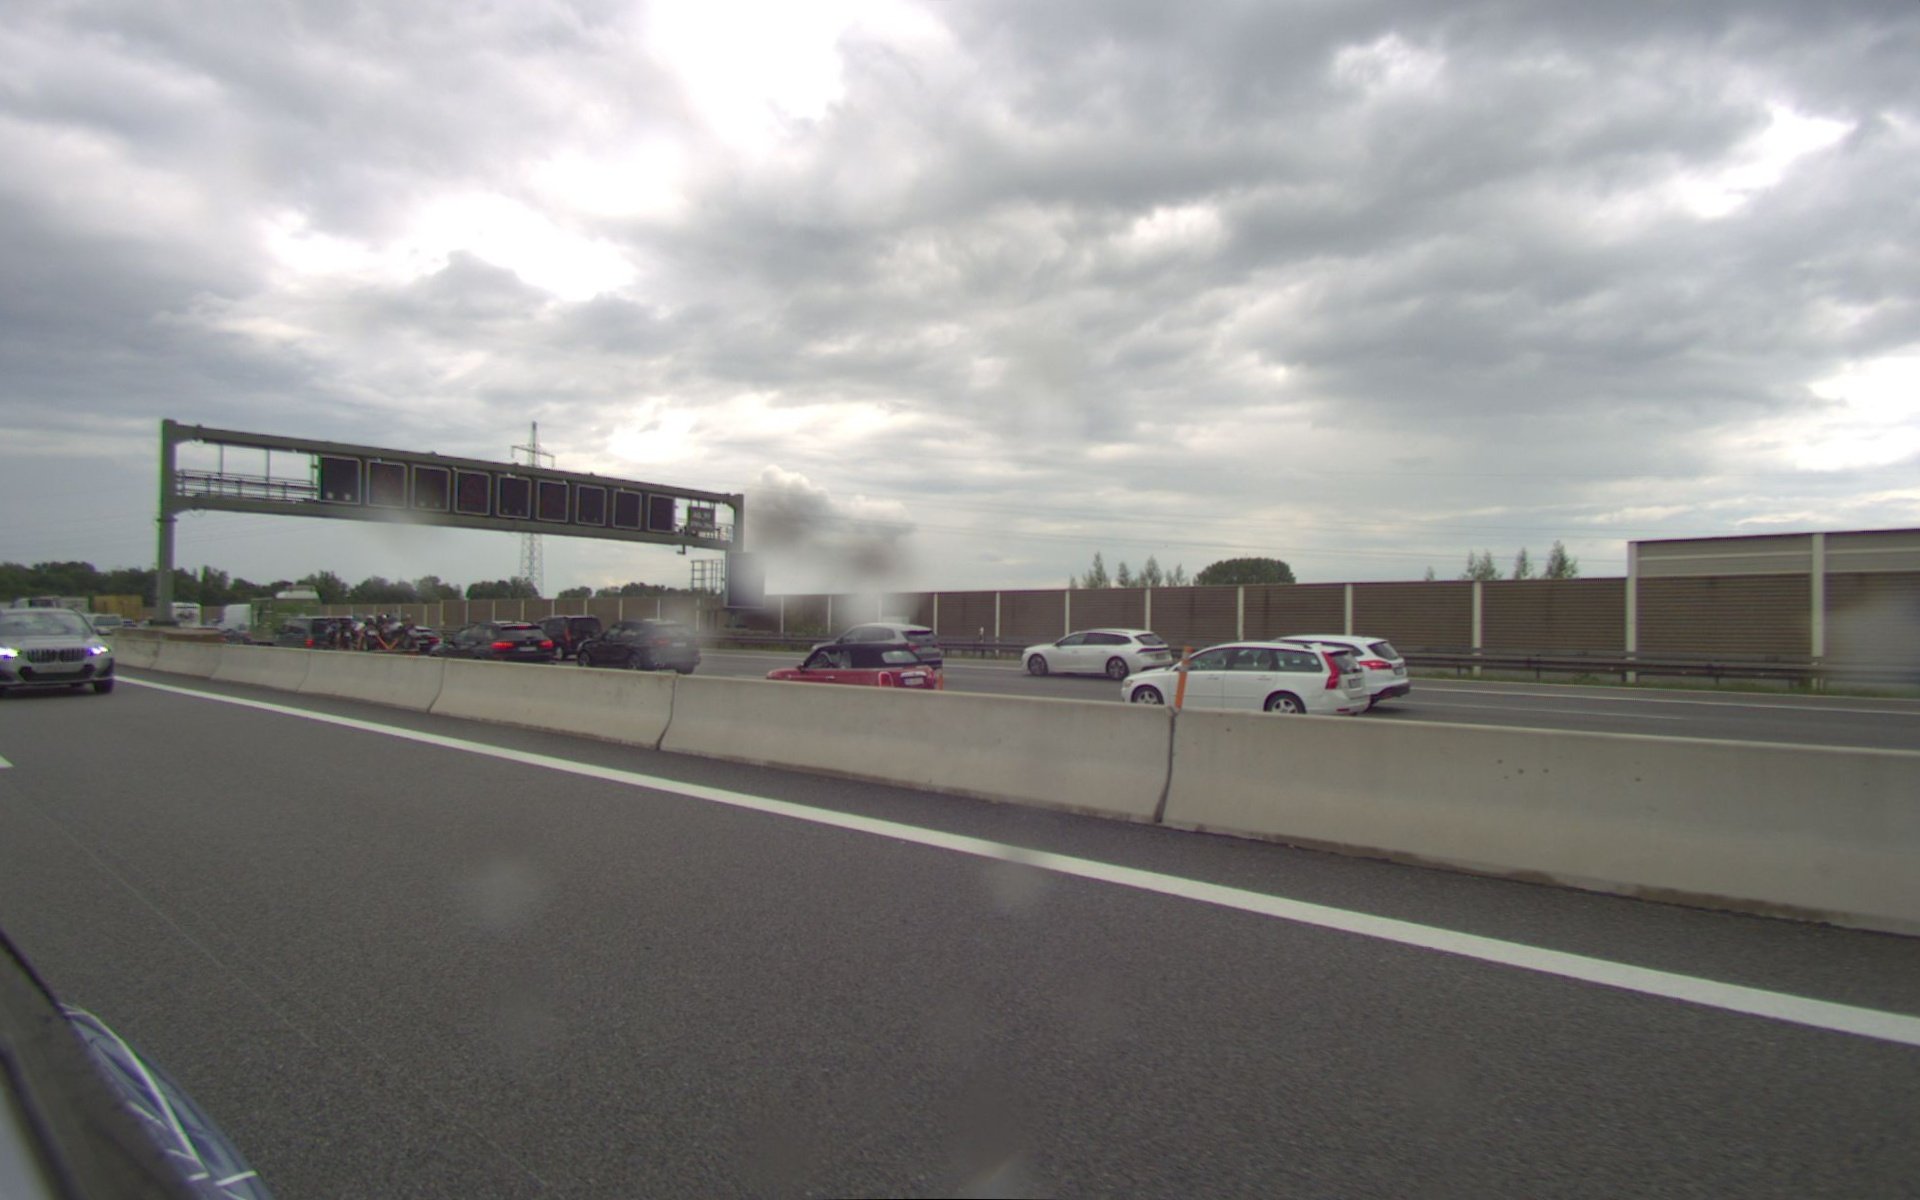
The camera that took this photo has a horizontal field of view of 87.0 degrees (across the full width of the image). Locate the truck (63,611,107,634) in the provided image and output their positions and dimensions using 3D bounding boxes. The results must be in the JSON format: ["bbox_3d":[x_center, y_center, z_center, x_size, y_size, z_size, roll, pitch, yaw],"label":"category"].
[{"bbox_3d":[-80.243,2.028,92.756,5.540,2.015,2.221,-1,-2,40],"label":"truck"}]

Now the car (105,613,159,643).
[{"bbox_3d":[-61.006,2.032,74.542,5.538,2.130,2.220,-1,-2,41],"label":"car"}]

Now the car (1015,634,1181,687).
[{"bbox_3d":[3.993,1.713,29.789,4.569,1.411,1.845,-1,-2,40],"label":"car"}]

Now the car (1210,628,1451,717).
[{"bbox_3d":[7.602,1.409,21.024,4.389,1.643,1.730,-1,-2,40],"label":"car"}]

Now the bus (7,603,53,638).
[{"bbox_3d":[-103.247,2.245,112.334,10.629,3.707,2.626,-1,-2,41],"label":"bus"}]

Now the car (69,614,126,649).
[{"bbox_3d":[-58.636,2.119,68.760,5.510,2.254,2.207,-1,-2,41],"label":"car"}]

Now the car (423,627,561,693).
[{"bbox_3d":[-13.756,1.674,29.604,5.109,1.758,1.860,-1,-2,43],"label":"car"}]

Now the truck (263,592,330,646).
[{"bbox_3d":[-50.517,1.444,76.990,6.048,3.917,2.724,-1,-2,41],"label":"truck"}]

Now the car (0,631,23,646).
[{"bbox_3d":[-93.747,3.759,99.727,3.325,1.399,1.598,-1,-1,39],"label":"car"}]

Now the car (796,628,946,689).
[{"bbox_3d":[-2.682,1.649,29.828,4.523,1.643,1.803,-1,-2,41],"label":"car"}]

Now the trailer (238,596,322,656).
[{"bbox_3d":[-37.829,1.414,56.255,6.048,3.162,2.423,-1,-2,41],"label":"trailer"}]

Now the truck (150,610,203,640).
[{"bbox_3d":[-76.549,2.461,98.825,7.831,2.835,2.663,-1,-2,41],"label":"truck"}]

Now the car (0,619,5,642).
[{"bbox_3d":[-103.669,3.274,107.897,5.708,2.369,2.114,-1,0,42],"label":"car"}]

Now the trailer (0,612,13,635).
[{"bbox_3d":[-173.698,4.261,182.311,12.686,4.147,2.871,-1,0,40],"label":"trailer"}]

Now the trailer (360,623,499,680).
[{"bbox_3d":[-17.834,1.652,33.864,6.043,1.722,2.121,-1,-2,41],"label":"trailer"}]

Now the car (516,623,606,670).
[{"bbox_3d":[-16.607,1.876,42.089,4.162,1.862,1.730,-1,-2,40],"label":"car"}]

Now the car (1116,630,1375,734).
[{"bbox_3d":[5.049,1.376,18.228,4.163,1.643,1.729,-1,-2,41],"label":"car"}]

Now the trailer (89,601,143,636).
[{"bbox_3d":[-100.511,2.233,120.412,12.968,3.963,2.997,-1,-2,41],"label":"trailer"}]

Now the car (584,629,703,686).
[{"bbox_3d":[-10.004,1.742,31.839,4.166,1.643,1.728,-1,-2,43],"label":"car"}]

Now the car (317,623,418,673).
[{"bbox_3d":[-21.941,1.727,37.408,4.804,1.722,1.797,-1,-2,41],"label":"car"}]

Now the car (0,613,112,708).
[{"bbox_3d":[-18.123,1.103,19.687,4.913,1.637,1.817,-2,-1,42],"label":"car"}]

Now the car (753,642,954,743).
[{"bbox_3d":[-2.073,1.656,19.143,3.746,1.643,1.729,-1,-2,42],"label":"car"}]

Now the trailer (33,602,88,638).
[{"bbox_3d":[-106.262,2.403,119.474,14.287,3.991,2.857,-1,0,40],"label":"trailer"}]

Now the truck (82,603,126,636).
[{"bbox_3d":[-105.948,2.372,125.229,7.707,3.963,2.997,-1,-2,41],"label":"truck"}]

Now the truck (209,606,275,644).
[{"bbox_3d":[-51.319,1.774,72.250,6.553,2.623,2.221,-1,-2,40],"label":"truck"}]

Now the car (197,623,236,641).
[{"bbox_3d":[-65.794,2.822,89.489,4.771,1.499,1.788,-1,-2,41],"label":"car"}]

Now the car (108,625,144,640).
[{"bbox_3d":[-80.309,3.070,97.422,4.943,1.396,1.944,-1,-2,41],"label":"car"}]

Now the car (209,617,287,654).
[{"bbox_3d":[-42.438,2.069,60.296,6.190,2.067,2.423,-1,-2,41],"label":"car"}]
